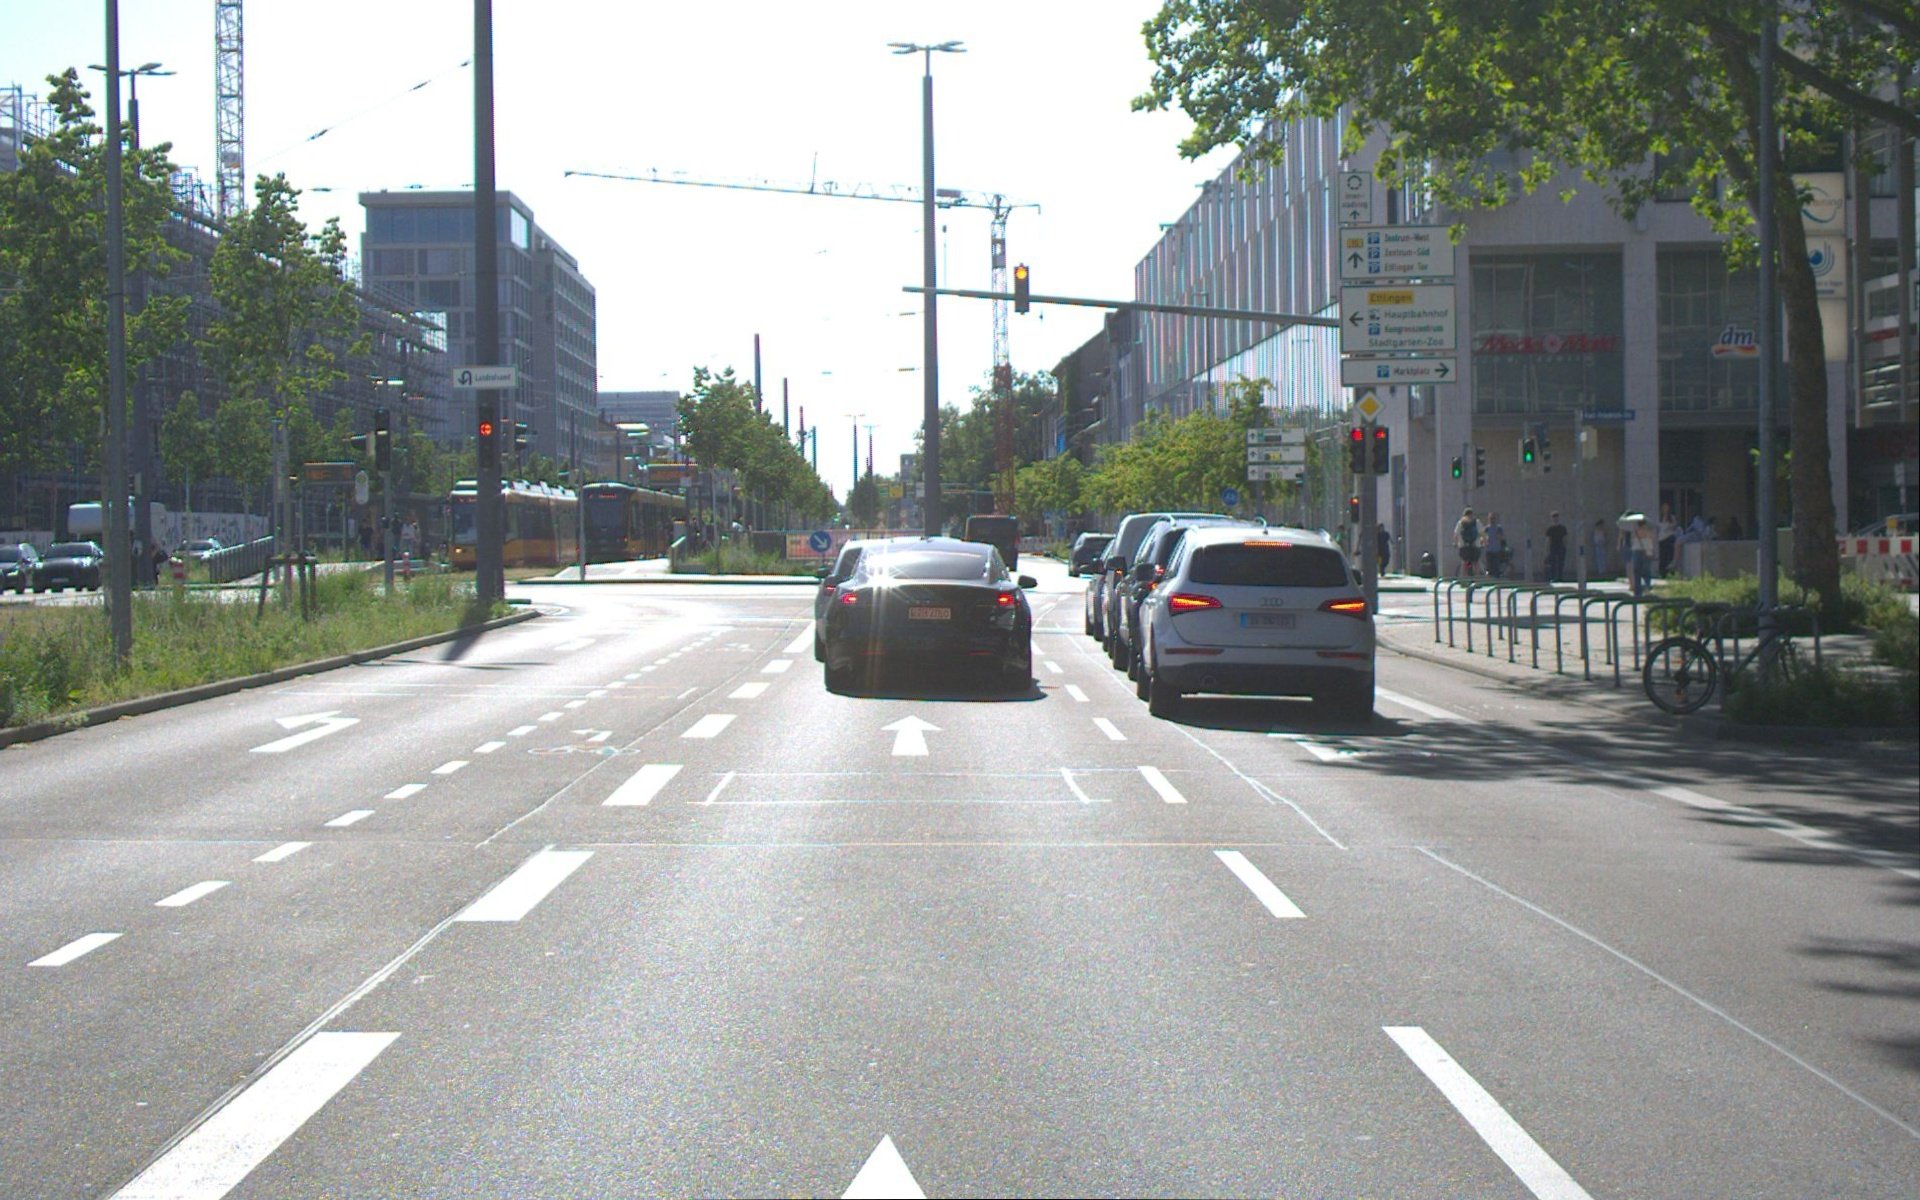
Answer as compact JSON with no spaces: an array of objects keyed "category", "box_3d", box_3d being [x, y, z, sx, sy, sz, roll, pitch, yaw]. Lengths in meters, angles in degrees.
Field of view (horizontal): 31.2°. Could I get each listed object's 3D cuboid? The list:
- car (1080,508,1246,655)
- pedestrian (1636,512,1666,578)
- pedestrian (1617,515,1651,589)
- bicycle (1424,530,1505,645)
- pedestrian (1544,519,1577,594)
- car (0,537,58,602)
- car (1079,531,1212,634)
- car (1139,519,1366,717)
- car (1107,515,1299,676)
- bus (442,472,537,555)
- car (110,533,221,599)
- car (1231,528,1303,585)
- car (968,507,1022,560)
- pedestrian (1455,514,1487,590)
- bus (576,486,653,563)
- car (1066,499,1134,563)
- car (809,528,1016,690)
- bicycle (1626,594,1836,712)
[{"category":"car","box_3d":[2.540,-0.276,43.807,1.721,1.776,4.187,0,1,-2]},{"category":"pedestrian","box_3d":[15.245,-1.208,75.869,0.562,1.435,0.631,2,0,6]},{"category":"pedestrian","box_3d":[13.291,-0.951,67.827,0.562,1.435,0.631,2,0,6]},{"category":"bicycle","box_3d":[6.560,-0.166,44.819,0.562,1.435,2.577,1,0,-2]},{"category":"pedestrian","box_3d":[11.610,-0.834,66.455,0.562,1.435,0.631,2,0,6]},{"category":"car","box_3d":[-17.812,-0.581,63.716,1.376,1.174,3.220,1,0,-1]},{"category":"car","box_3d":[2.689,-0.287,50.620,1.721,1.427,4.186,0,1,0]},{"category":"car","box_3d":[2.517,0.098,30.399,1.721,1.612,4.186,0,1,1]},{"category":"car","box_3d":[2.587,-0.098,37.355,1.721,1.647,4.187,0,1,-1]},{"category":"bus","box_3d":[-17.039,-3.095,124.983,2.627,2.773,8.845,1,0,-3]},{"category":"car","box_3d":[-14.945,-0.634,64.812,1.376,1.174,3.220,1,0,-1]},{"category":"car","box_3d":[9.209,-1.291,103.275,1.662,1.643,3.701,1,0,-2]},{"category":"car","box_3d":[1.371,-2.621,136.416,1.993,2.007,4.000,1,0,0]},{"category":"pedestrian","box_3d":[9.854,-0.920,66.290,0.562,1.435,0.631,2,0,6]},{"category":"bus","box_3d":[-14.200,-3.062,141.825,2.627,2.949,9.900,1,0,-3]},{"category":"car","box_3d":[4.616,-2.259,113.860,1.993,2.007,4.000,1,0,0]},{"category":"car","box_3d":[-0.487,0.040,33.921,1.912,1.481,4.010,0,1,-1]},{"category":"bicycle","box_3d":[6.703,0.457,29.896,1.693,0.954,0.478,-2,1,-4]}]
